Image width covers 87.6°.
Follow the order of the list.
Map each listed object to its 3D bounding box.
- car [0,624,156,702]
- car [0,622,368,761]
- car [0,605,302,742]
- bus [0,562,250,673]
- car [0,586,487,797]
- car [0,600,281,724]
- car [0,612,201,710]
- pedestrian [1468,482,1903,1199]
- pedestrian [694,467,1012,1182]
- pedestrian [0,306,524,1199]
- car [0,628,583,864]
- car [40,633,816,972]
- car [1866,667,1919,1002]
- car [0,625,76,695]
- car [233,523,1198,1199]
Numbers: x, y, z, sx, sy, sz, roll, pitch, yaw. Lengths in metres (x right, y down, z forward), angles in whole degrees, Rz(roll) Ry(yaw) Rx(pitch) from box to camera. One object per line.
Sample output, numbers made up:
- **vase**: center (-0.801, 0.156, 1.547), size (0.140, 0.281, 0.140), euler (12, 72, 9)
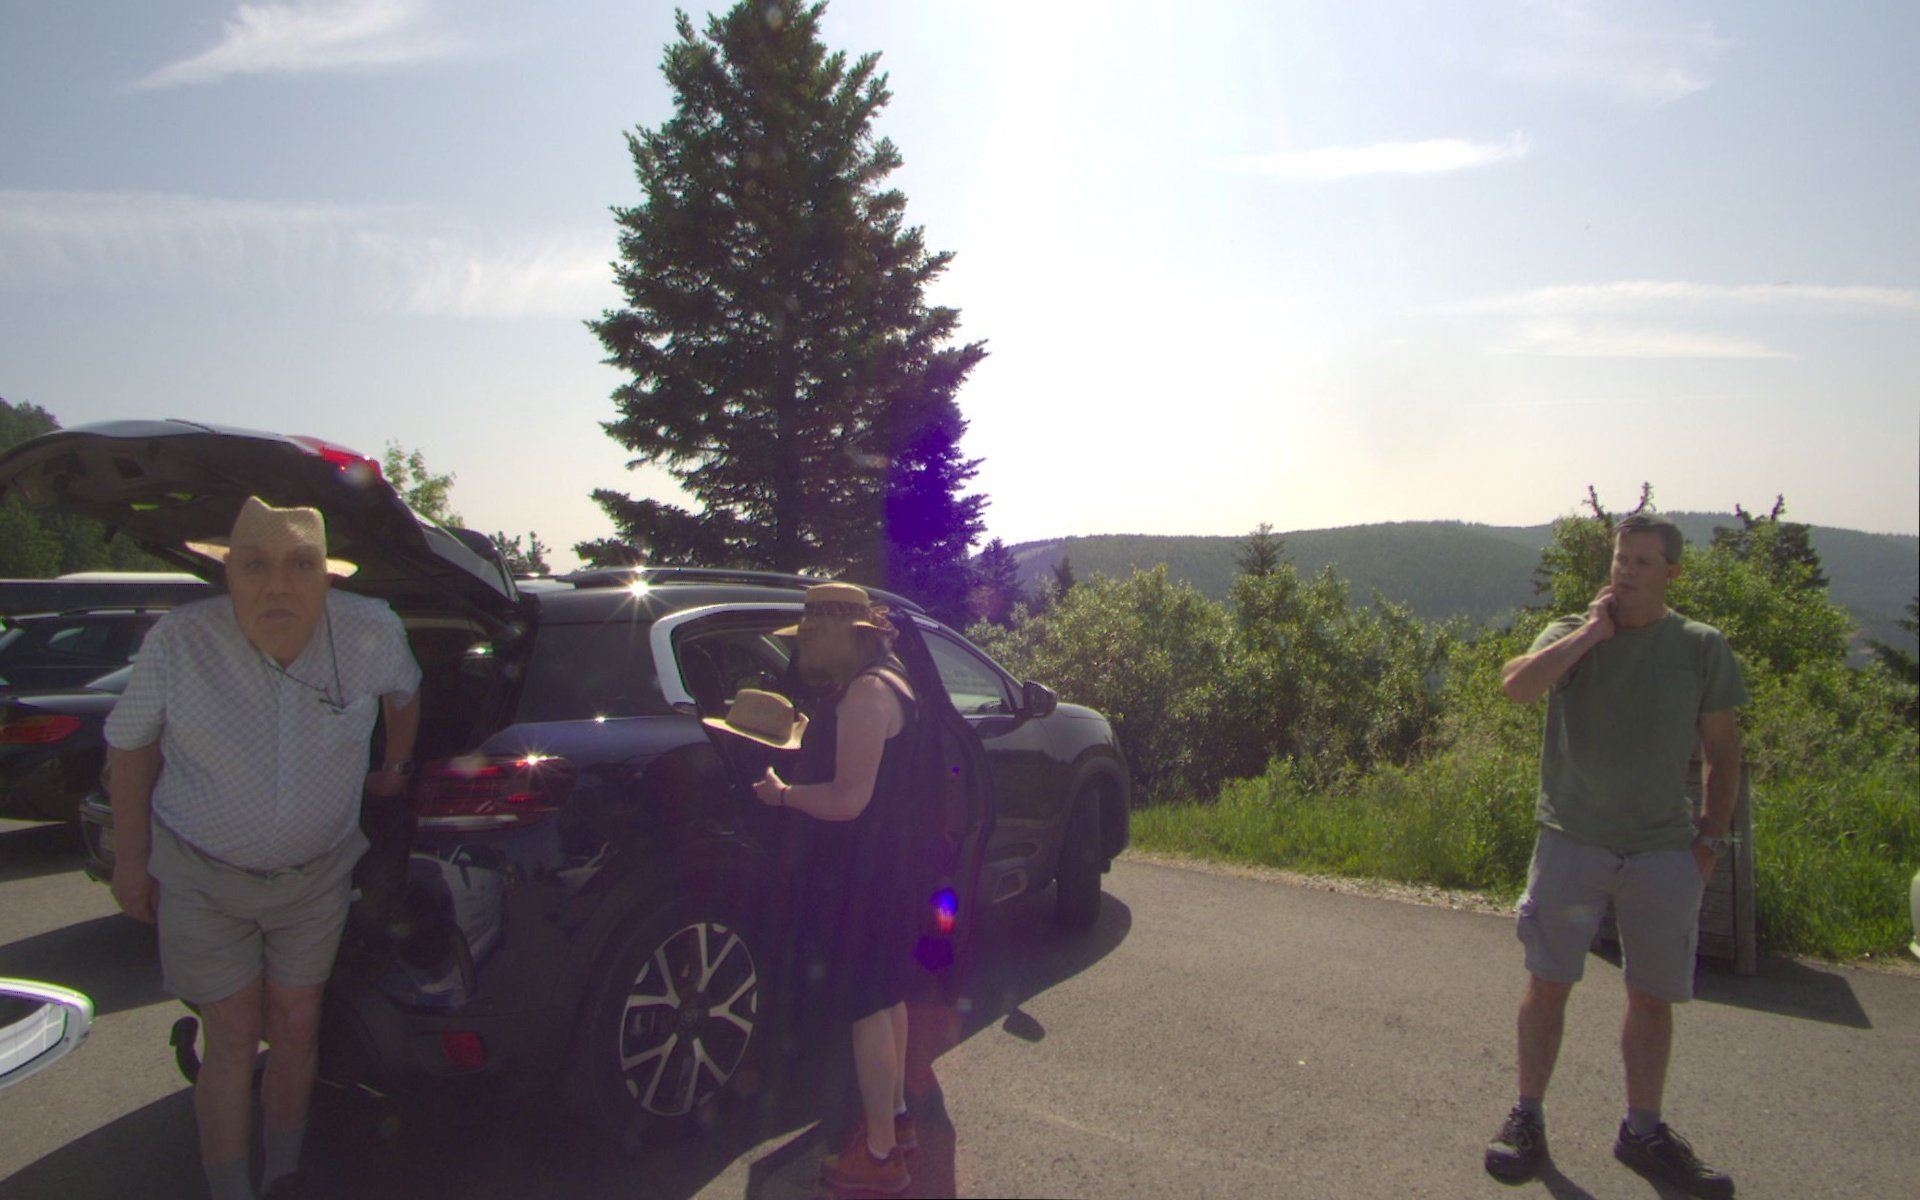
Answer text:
- **car**: center (-18.968, 1.272, 20.245), size (1.601, 1.417, 3.968), euler (-1, 0, 40)
- **car**: center (-9.600, 0.980, 11.716), size (1.816, 1.286, 4.224), euler (-1, 0, 40)
- **car**: center (-11.565, 0.915, 13.430), size (1.816, 1.574, 4.224), euler (-1, 0, 40)
- **bus**: center (-31.782, 0.589, 33.356), size (12.987, 3.580, 3.018), euler (-2, 1, -40)
- **car**: center (-7.600, 0.754, 9.909), size (1.923, 1.718, 4.923), euler (-1, 0, 42)
- **car**: center (-13.687, 0.903, 15.370), size (2.024, 1.673, 5.010), euler (-1, 0, 40)
- **car**: center (-16.308, 1.069, 17.999), size (1.640, 1.574, 3.968), euler (-1, 0, 40)
- **pedestrian**: center (1.794, 0.680, 2.620), size (0.736, 1.823, 0.734), euler (-1, -1, 23)
- **pedestrian**: center (-0.268, 0.527, 2.741), size (0.529, 1.633, 0.713), euler (-2, -1, 31)
- **pedestrian**: center (-1.542, 0.445, 2.197), size (0.724, 1.896, 0.756), euler (2, 1, 21)
- **car**: center (-5.301, 0.941, 8.025), size (1.679, 1.394, 4.073), euler (-1, -2, 33)
- **car**: center (-2.843, 0.917, 6.329), size (1.677, 1.394, 4.077), euler (-1, -2, 30)
- **car**: center (4.131, 0.854, 1.937), size (1.723, 1.312, 4.409), euler (0, -2, 16)
- **car**: center (-21.914, 1.356, 21.639), size (1.839, 1.468, 3.968), euler (-1, 0, 40)
- **car**: center (-0.546, 0.772, 4.759), size (1.845, 1.646, 4.335), euler (-2, -4, 34)
